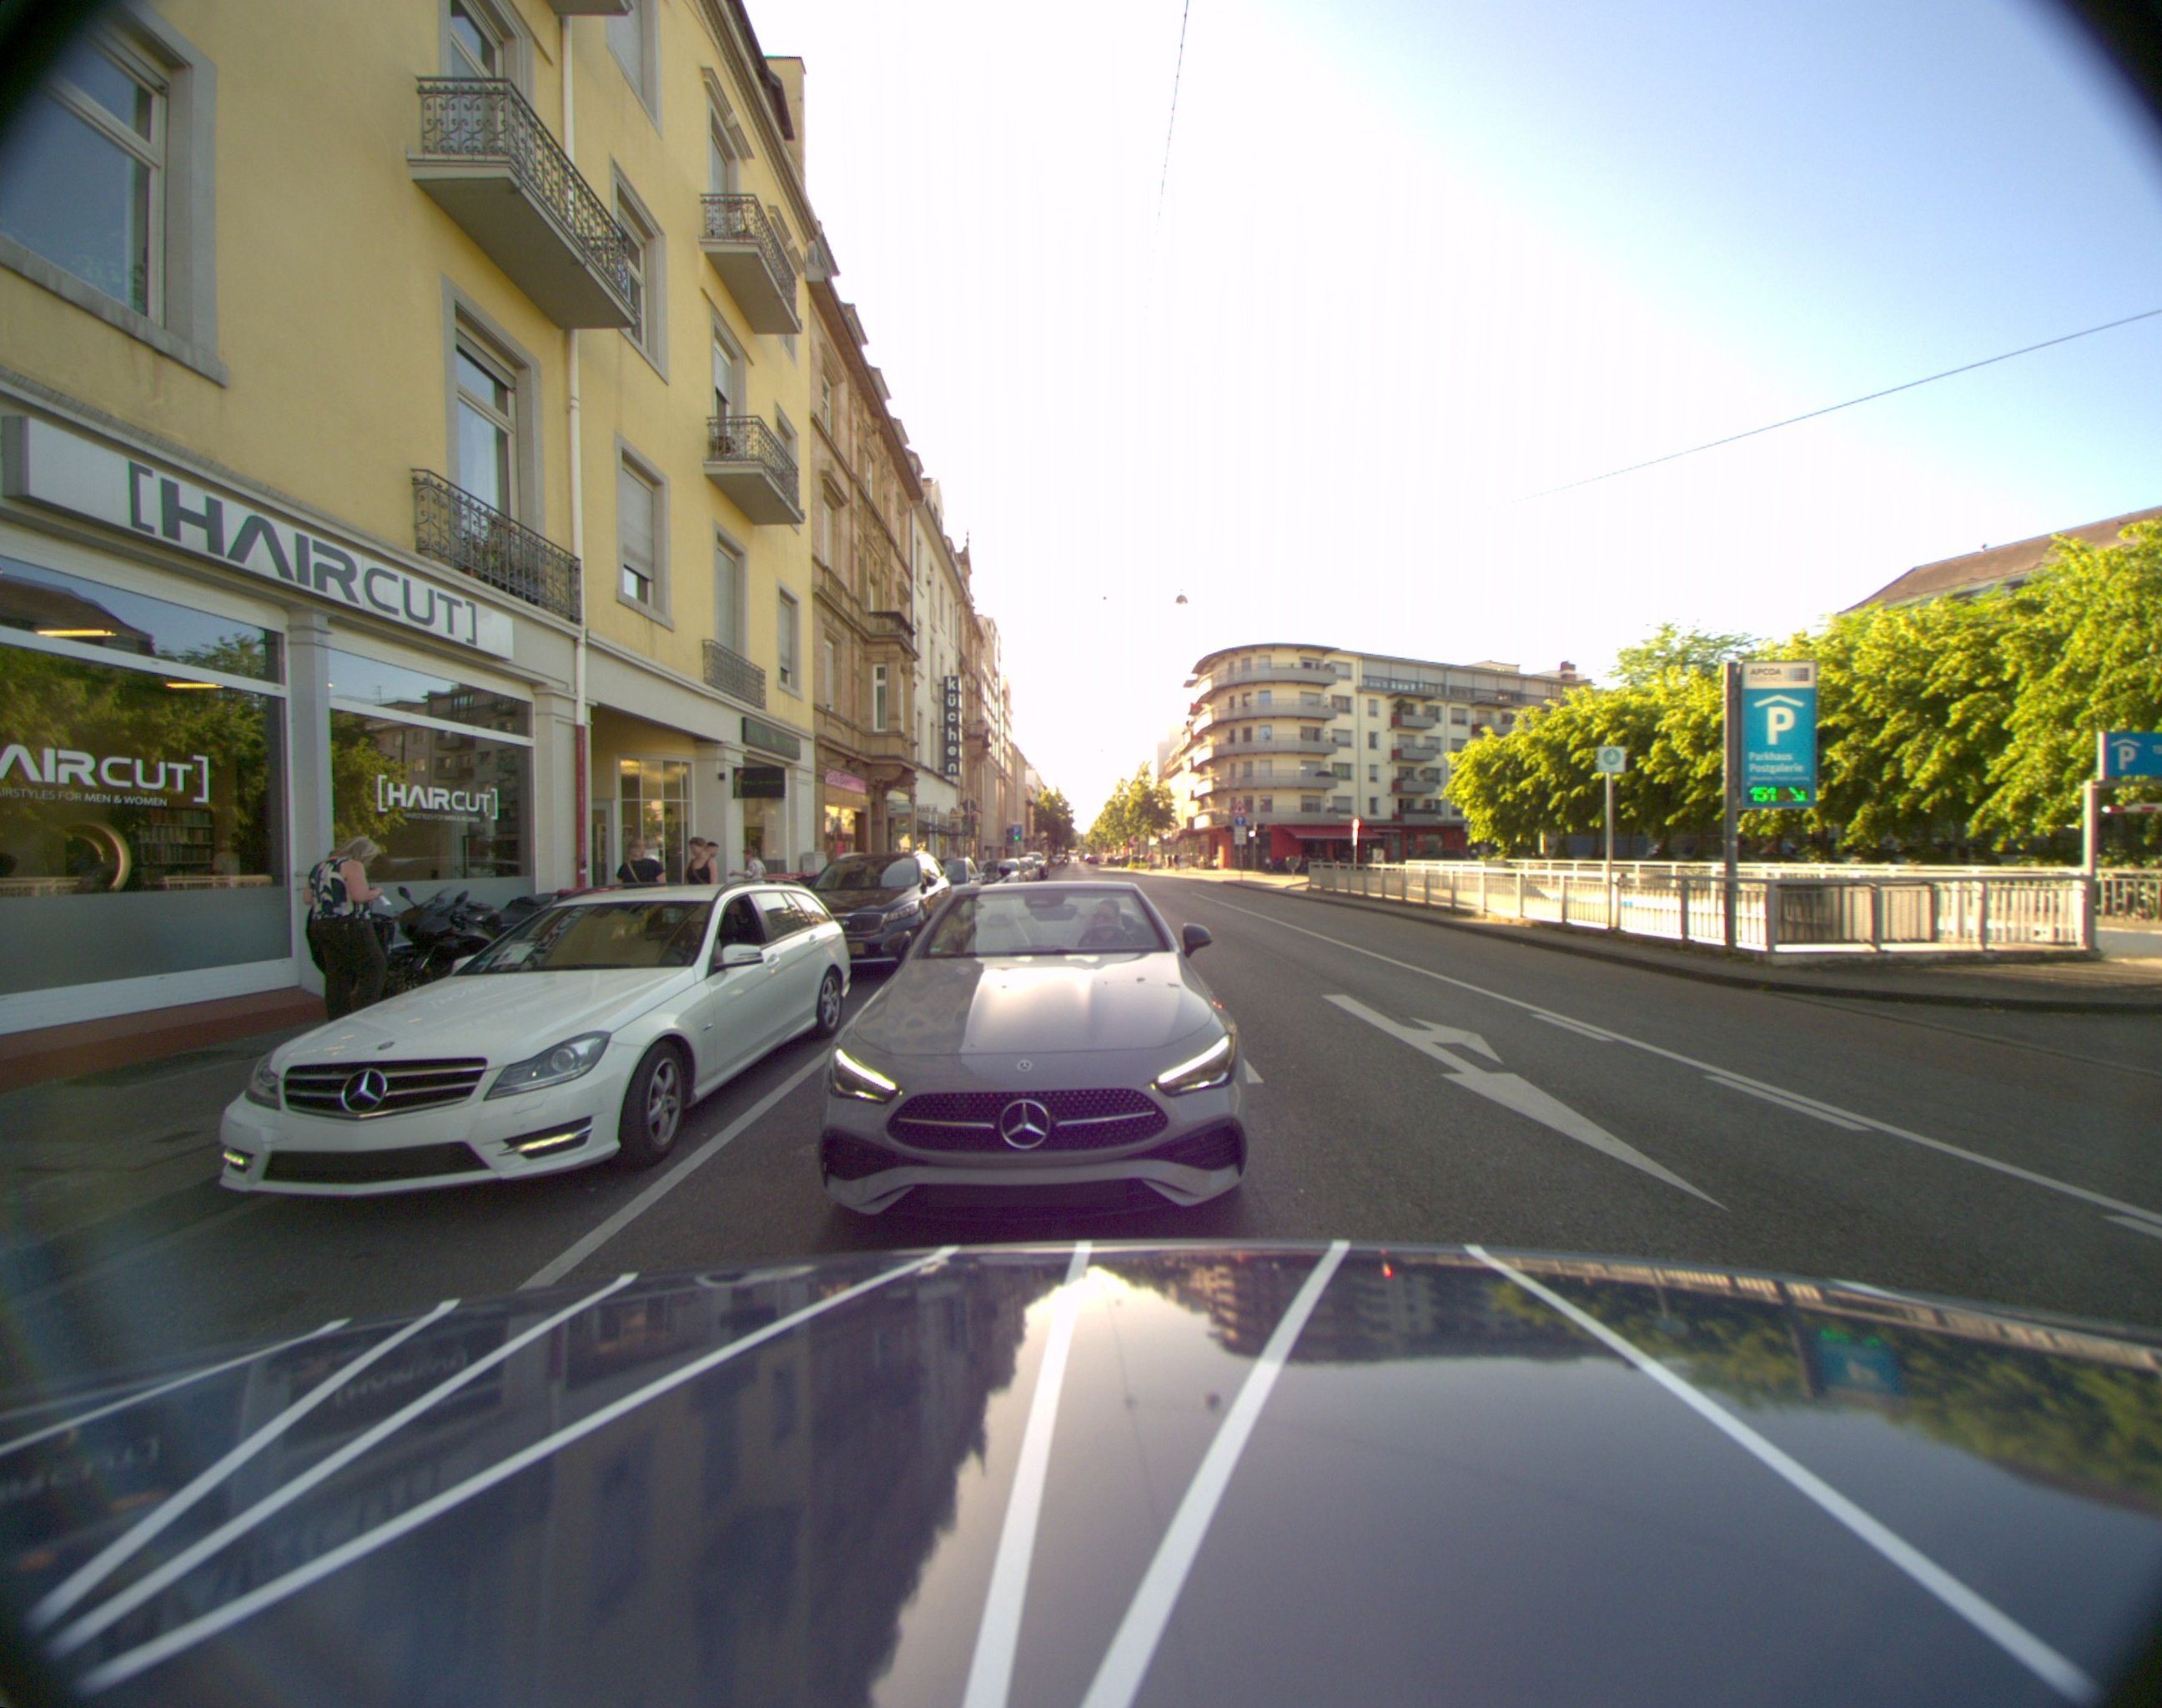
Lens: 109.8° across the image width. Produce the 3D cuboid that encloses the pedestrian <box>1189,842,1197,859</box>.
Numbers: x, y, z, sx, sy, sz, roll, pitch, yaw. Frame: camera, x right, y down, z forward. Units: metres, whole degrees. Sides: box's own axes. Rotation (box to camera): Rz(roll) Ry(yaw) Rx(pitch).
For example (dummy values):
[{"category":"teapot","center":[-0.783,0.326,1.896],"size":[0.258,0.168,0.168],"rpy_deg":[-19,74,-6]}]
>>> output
[{"category":"pedestrian","center":[11.197,-0.337,76.143],"size":[0.570,1.612,0.793],"rpy_deg":[-2,1,-3]}]

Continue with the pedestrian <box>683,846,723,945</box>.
[{"category":"pedestrian","center":[-6.474,0.693,13.009],"size":[0.337,1.651,0.524],"rpy_deg":[0,1,18]}]

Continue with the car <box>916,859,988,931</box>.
[{"category":"car","center":[-2.991,0.896,17.964],"size":[1.275,1.509,2.794],"rpy_deg":[-1,0,-2]}]

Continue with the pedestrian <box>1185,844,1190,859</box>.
[{"category":"pedestrian","center":[10.640,-0.271,76.145],"size":[0.376,1.521,0.516],"rpy_deg":[-2,1,-3]}]

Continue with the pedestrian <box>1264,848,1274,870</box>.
[{"category":"pedestrian","center":[14.763,0.365,59.657],"size":[0.575,1.698,0.642],"rpy_deg":[-1,1,3]}]

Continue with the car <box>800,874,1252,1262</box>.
[{"category":"car","center":[-0.216,0.953,5.352],"size":[1.848,1.440,4.373],"rpy_deg":[-1,0,0]}]

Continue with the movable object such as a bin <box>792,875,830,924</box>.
[{"category":"movable object such as a bin","center":[-6.066,1.009,17.092],"size":[0.606,1.060,0.619],"rpy_deg":[2,1,0]}]

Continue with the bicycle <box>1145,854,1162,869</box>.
[{"category":"bicycle","center":[6.018,0.618,63.563],"size":[0.714,1.205,1.870],"rpy_deg":[-2,0,-18]}]

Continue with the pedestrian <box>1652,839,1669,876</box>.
[{"category":"pedestrian","center":[28.903,0.167,37.912],"size":[0.602,1.782,0.581],"rpy_deg":[-3,2,-45]}]

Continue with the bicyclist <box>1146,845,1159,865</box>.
[{"category":"bicyclist","center":[5.954,0.090,63.594],"size":[0.714,1.605,0.974],"rpy_deg":[-2,1,-19]}]

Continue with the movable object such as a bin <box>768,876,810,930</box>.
[{"category":"movable object such as a bin","center":[-6.089,1.011,15.844],"size":[0.606,1.060,0.619],"rpy_deg":[2,1,0]}]

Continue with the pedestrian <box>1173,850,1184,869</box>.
[{"category":"pedestrian","center":[8.326,0.464,65.101],"size":[0.774,1.606,0.696],"rpy_deg":[-1,1,-3]}]

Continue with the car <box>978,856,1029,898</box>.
[{"category":"car","center":[-3.048,0.861,30.742],"size":[1.737,1.509,4.164],"rpy_deg":[-1,0,-2]}]

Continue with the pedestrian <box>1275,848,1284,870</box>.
[{"category":"pedestrian","center":[15.502,0.358,59.404],"size":[0.575,1.698,0.642],"rpy_deg":[-1,1,3]}]

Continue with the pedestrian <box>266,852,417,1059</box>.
[{"category":"pedestrian","center":[-6.028,0.798,6.223],"size":[0.698,1.623,0.532],"rpy_deg":[0,1,-2]}]

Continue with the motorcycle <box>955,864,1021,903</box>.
[{"category":"motorcycle","center":[-3.228,1.005,26.526],"size":[2.178,1.272,0.866],"rpy_deg":[-2,1,-42]}]

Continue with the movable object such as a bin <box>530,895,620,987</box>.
[{"category":"movable object such as a bin","center":[-6.177,1.046,9.302],"size":[0.661,1.035,0.619],"rpy_deg":[2,1,3]}]

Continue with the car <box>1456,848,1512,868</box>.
[{"category":"car","center":[34.278,0.326,64.678],"size":[4.300,1.611,1.951],"rpy_deg":[-2,1,-24]}]

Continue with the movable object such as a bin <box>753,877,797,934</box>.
[{"category":"movable object such as a bin","center":[-6.112,1.019,15.197],"size":[0.606,1.060,0.619],"rpy_deg":[2,1,0]}]

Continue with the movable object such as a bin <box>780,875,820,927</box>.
[{"category":"movable object such as a bin","center":[-6.078,1.004,16.459],"size":[0.606,1.060,0.619],"rpy_deg":[2,1,0]}]

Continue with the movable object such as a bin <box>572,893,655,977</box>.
[{"category":"movable object such as a bin","center":[-6.102,1.043,9.943],"size":[0.669,1.019,0.619],"rpy_deg":[2,1,3]}]

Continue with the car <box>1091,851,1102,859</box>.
[{"category":"car","center":[2.572,0.194,129.902],"size":[1.806,1.388,3.926],"rpy_deg":[-1,0,0]}]

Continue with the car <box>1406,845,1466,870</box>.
[{"category":"car","center":[29.209,0.250,62.505],"size":[4.432,1.901,1.951],"rpy_deg":[-2,1,-24]}]

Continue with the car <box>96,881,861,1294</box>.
[{"category":"car","center":[-3.063,1.021,5.293],"size":[1.743,1.438,4.463],"rpy_deg":[-1,0,0]}]

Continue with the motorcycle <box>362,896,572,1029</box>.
[{"category":"motorcycle","center":[-6.212,1.033,7.859],"size":[0.551,1.085,2.009],"rpy_deg":[0,0,-1]}]

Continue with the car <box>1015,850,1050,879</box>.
[{"category":"car","center":[-3.005,0.635,47.726],"size":[1.895,1.680,4.049],"rpy_deg":[-1,0,0]}]

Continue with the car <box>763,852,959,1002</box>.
[{"category":"car","center":[-2.978,0.860,11.317],"size":[1.760,1.726,4.571],"rpy_deg":[-1,0,-3]}]

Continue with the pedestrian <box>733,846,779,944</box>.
[{"category":"pedestrian","center":[-5.651,0.690,13.206],"size":[0.450,1.651,0.594],"rpy_deg":[1,1,43]}]

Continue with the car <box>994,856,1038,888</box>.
[{"category":"car","center":[-3.077,0.845,36.709],"size":[1.737,1.409,3.802],"rpy_deg":[-1,0,0]}]

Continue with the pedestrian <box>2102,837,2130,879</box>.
[{"category":"pedestrian","center":[45.454,0.179,33.383],"size":[0.602,1.782,0.581],"rpy_deg":[-2,1,-20]}]

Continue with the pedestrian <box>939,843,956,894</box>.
[{"category":"pedestrian","center":[-4.626,0.494,26.276],"size":[0.434,1.752,0.481],"rpy_deg":[-2,1,1]}]

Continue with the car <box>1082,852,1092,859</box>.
[{"category":"car","center":[1.167,0.276,155.622],"size":[1.895,1.388,4.255],"rpy_deg":[-1,0,-2]}]

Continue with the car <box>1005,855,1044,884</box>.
[{"category":"car","center":[-2.999,0.811,41.097],"size":[1.737,1.409,3.802],"rpy_deg":[-1,0,0]}]

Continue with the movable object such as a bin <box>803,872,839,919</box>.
[{"category":"movable object such as a bin","center":[-6.057,0.960,17.737],"size":[0.606,1.060,0.619],"rpy_deg":[2,1,0]}]

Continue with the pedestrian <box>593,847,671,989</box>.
[{"category":"pedestrian","center":[-5.324,0.739,9.028],"size":[0.618,1.623,0.462],"rpy_deg":[-2,1,-7]}]

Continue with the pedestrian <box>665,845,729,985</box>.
[{"category":"pedestrian","center":[-4.596,0.715,9.114],"size":[0.515,1.623,0.414],"rpy_deg":[-1,1,-3]}]
